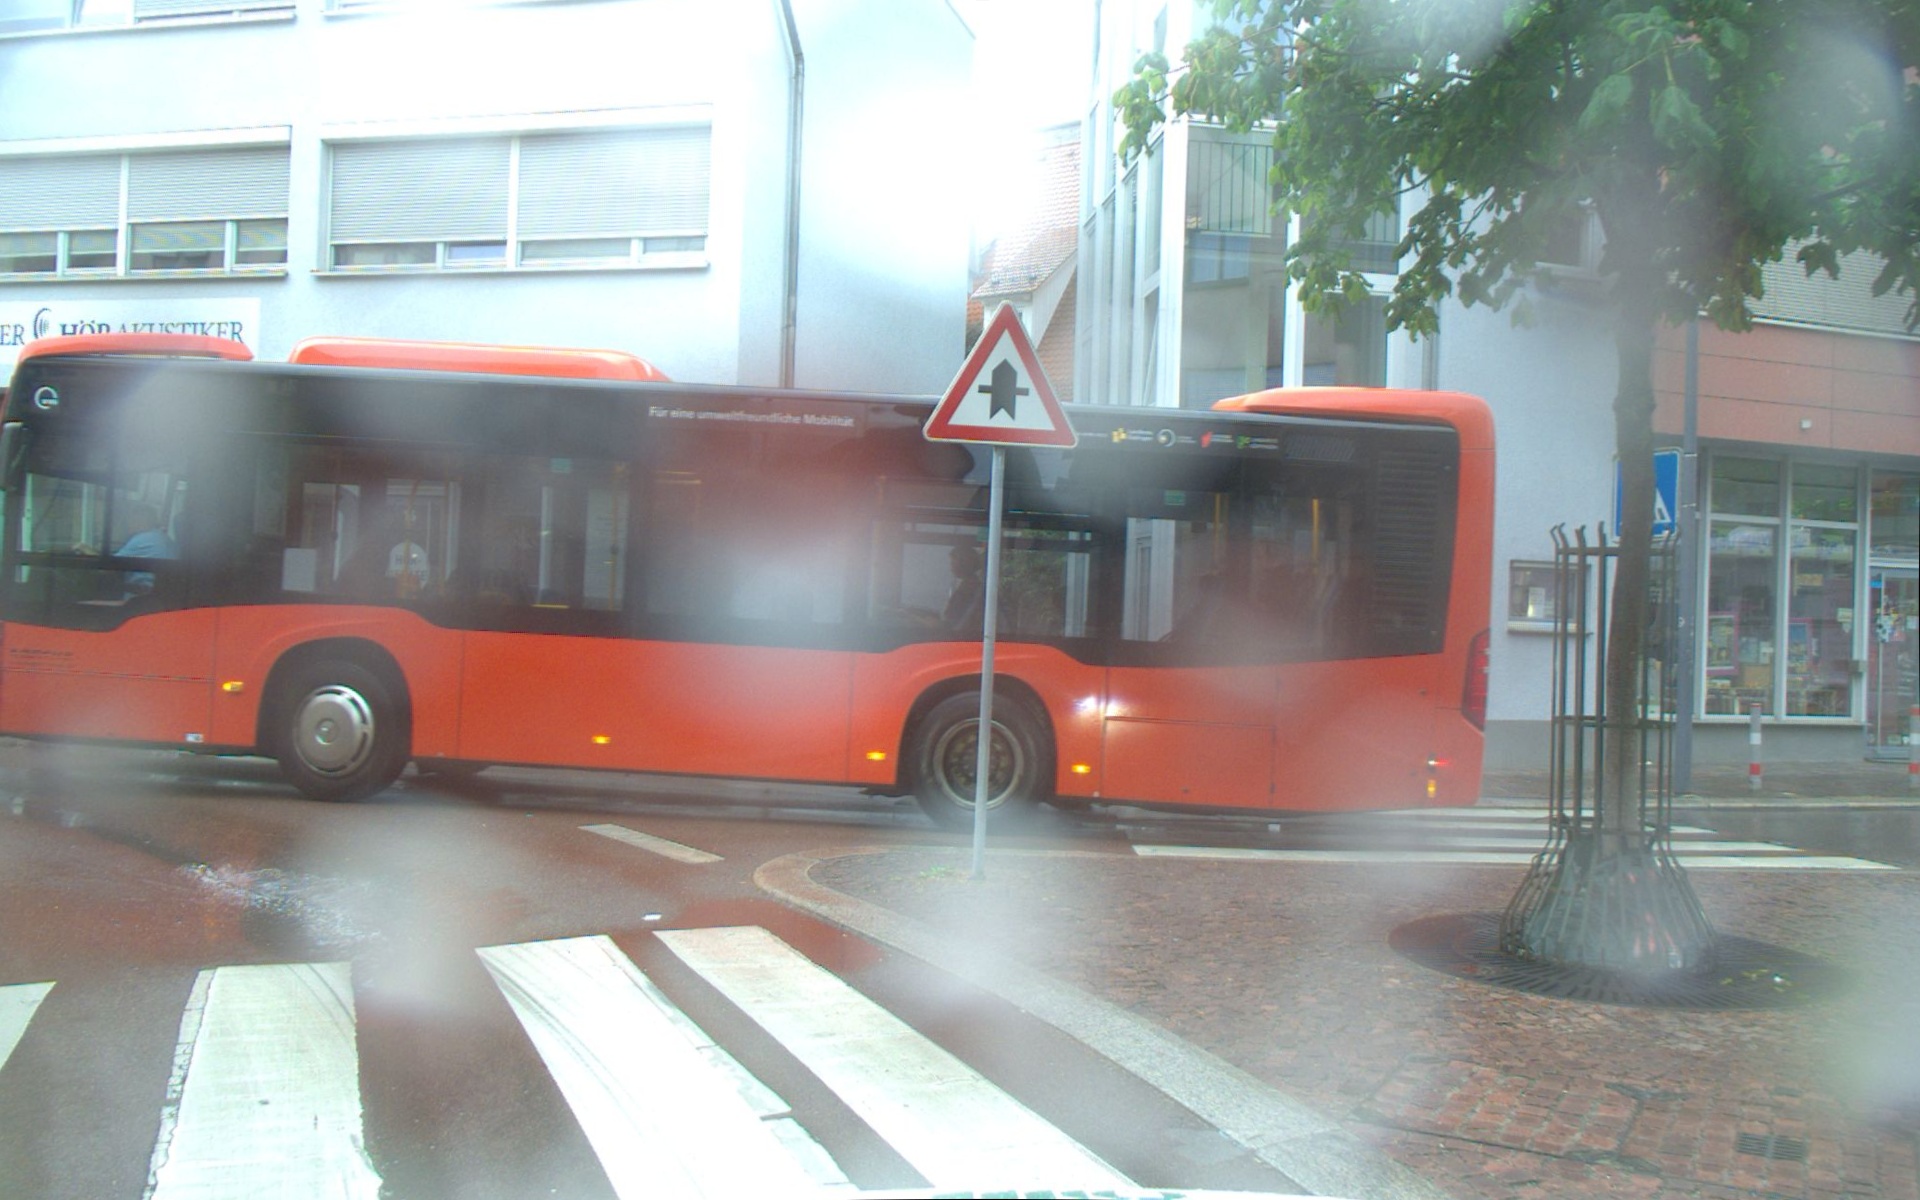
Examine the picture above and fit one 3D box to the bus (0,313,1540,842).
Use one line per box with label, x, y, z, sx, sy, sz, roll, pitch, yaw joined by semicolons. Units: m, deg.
bus;-1.472;-0.186;12.081;10.353;3.142;2.823;2;0;2
